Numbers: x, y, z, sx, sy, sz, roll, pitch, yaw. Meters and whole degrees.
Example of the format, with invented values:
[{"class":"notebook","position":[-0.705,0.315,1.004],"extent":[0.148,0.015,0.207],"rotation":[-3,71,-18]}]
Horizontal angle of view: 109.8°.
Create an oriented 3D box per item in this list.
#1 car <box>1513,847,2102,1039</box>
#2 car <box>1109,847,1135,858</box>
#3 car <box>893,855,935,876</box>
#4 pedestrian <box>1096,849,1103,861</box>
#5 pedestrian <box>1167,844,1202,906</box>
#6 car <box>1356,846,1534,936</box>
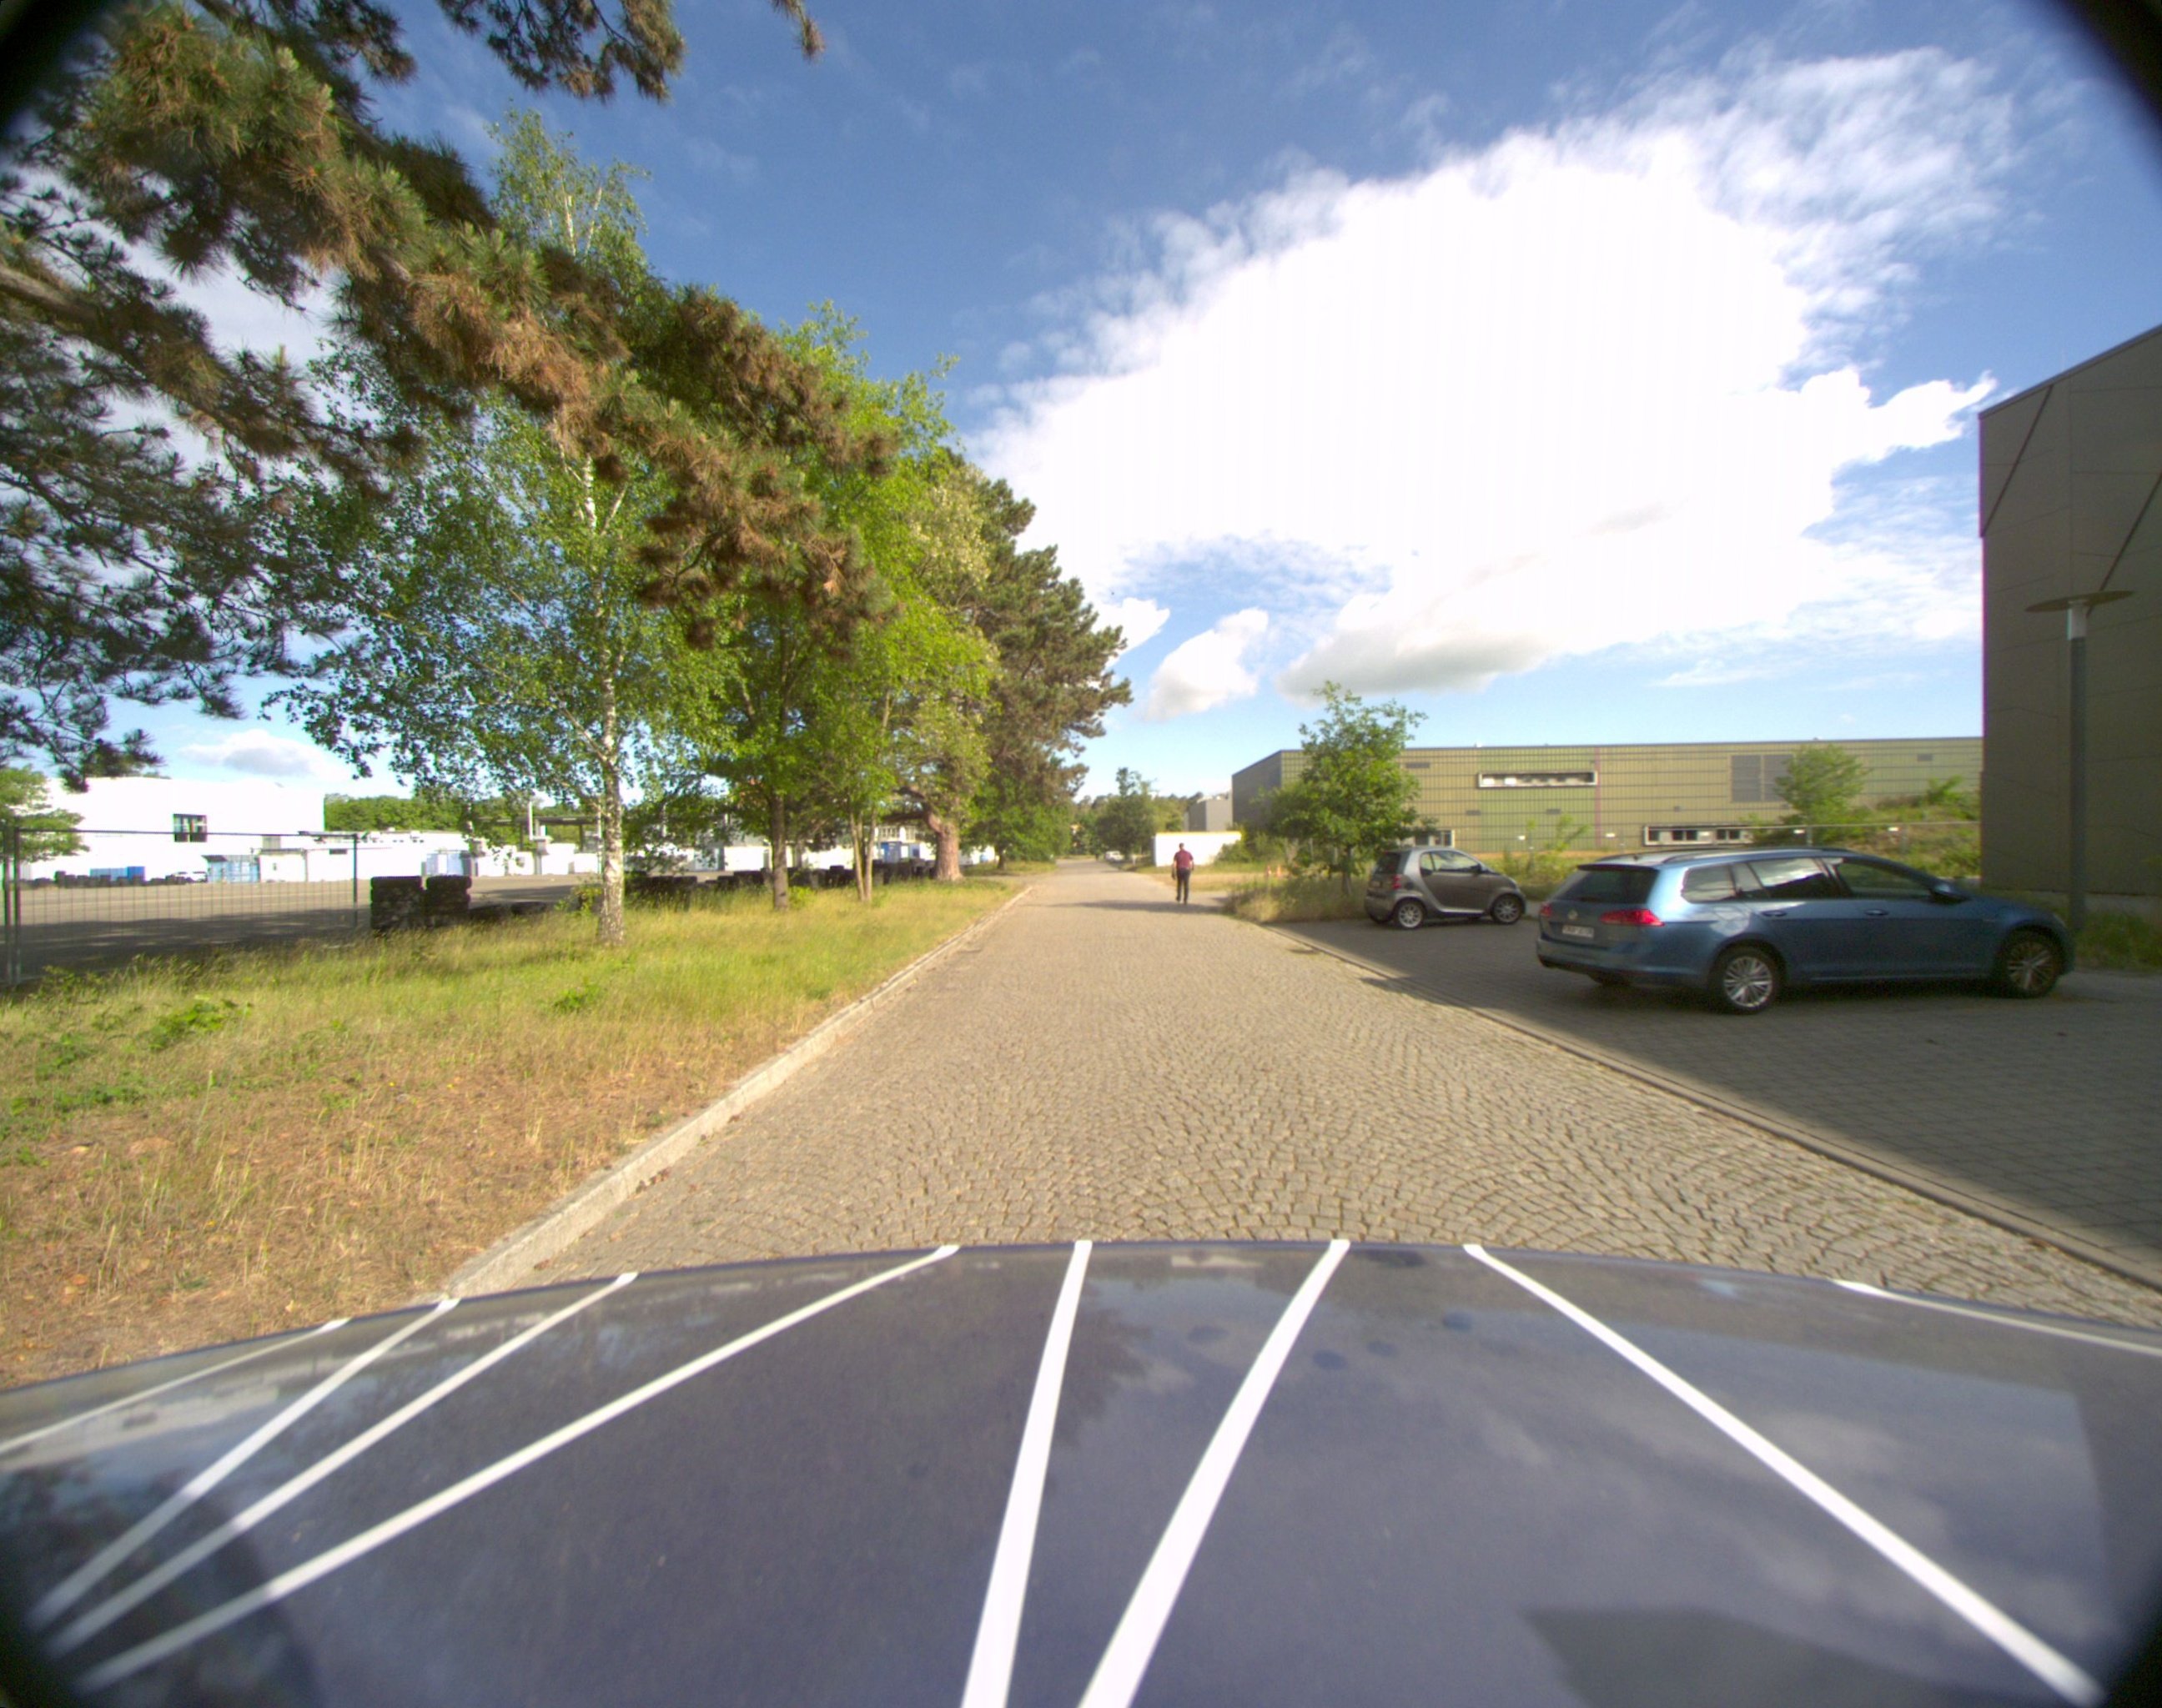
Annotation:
[{"class":"car","position":[6.903,0.781,7.521],"extent":[4.268,1.455,1.680],"rotation":[-3,0,-2]},{"class":"car","position":[6.611,-0.175,122.222],"extent":[3.996,1.678,2.000],"rotation":[-1,1,3]},{"class":"car","position":[-12.347,0.818,56.487],"extent":[1.846,1.440,4.001],"rotation":[-1,1,6]},{"class":"pedestrian","position":[2.740,0.153,111.348],"extent":[0.908,1.797,0.983],"rotation":[-1,1,-7]},{"class":"pedestrian","position":[3.055,0.604,22.533],"extent":[0.806,1.761,1.152],"rotation":[-1,1,-4]},{"class":"car","position":[7.041,0.684,14.885],"extent":[2.706,1.533,1.518],"rotation":[-3,1,-1]}]
